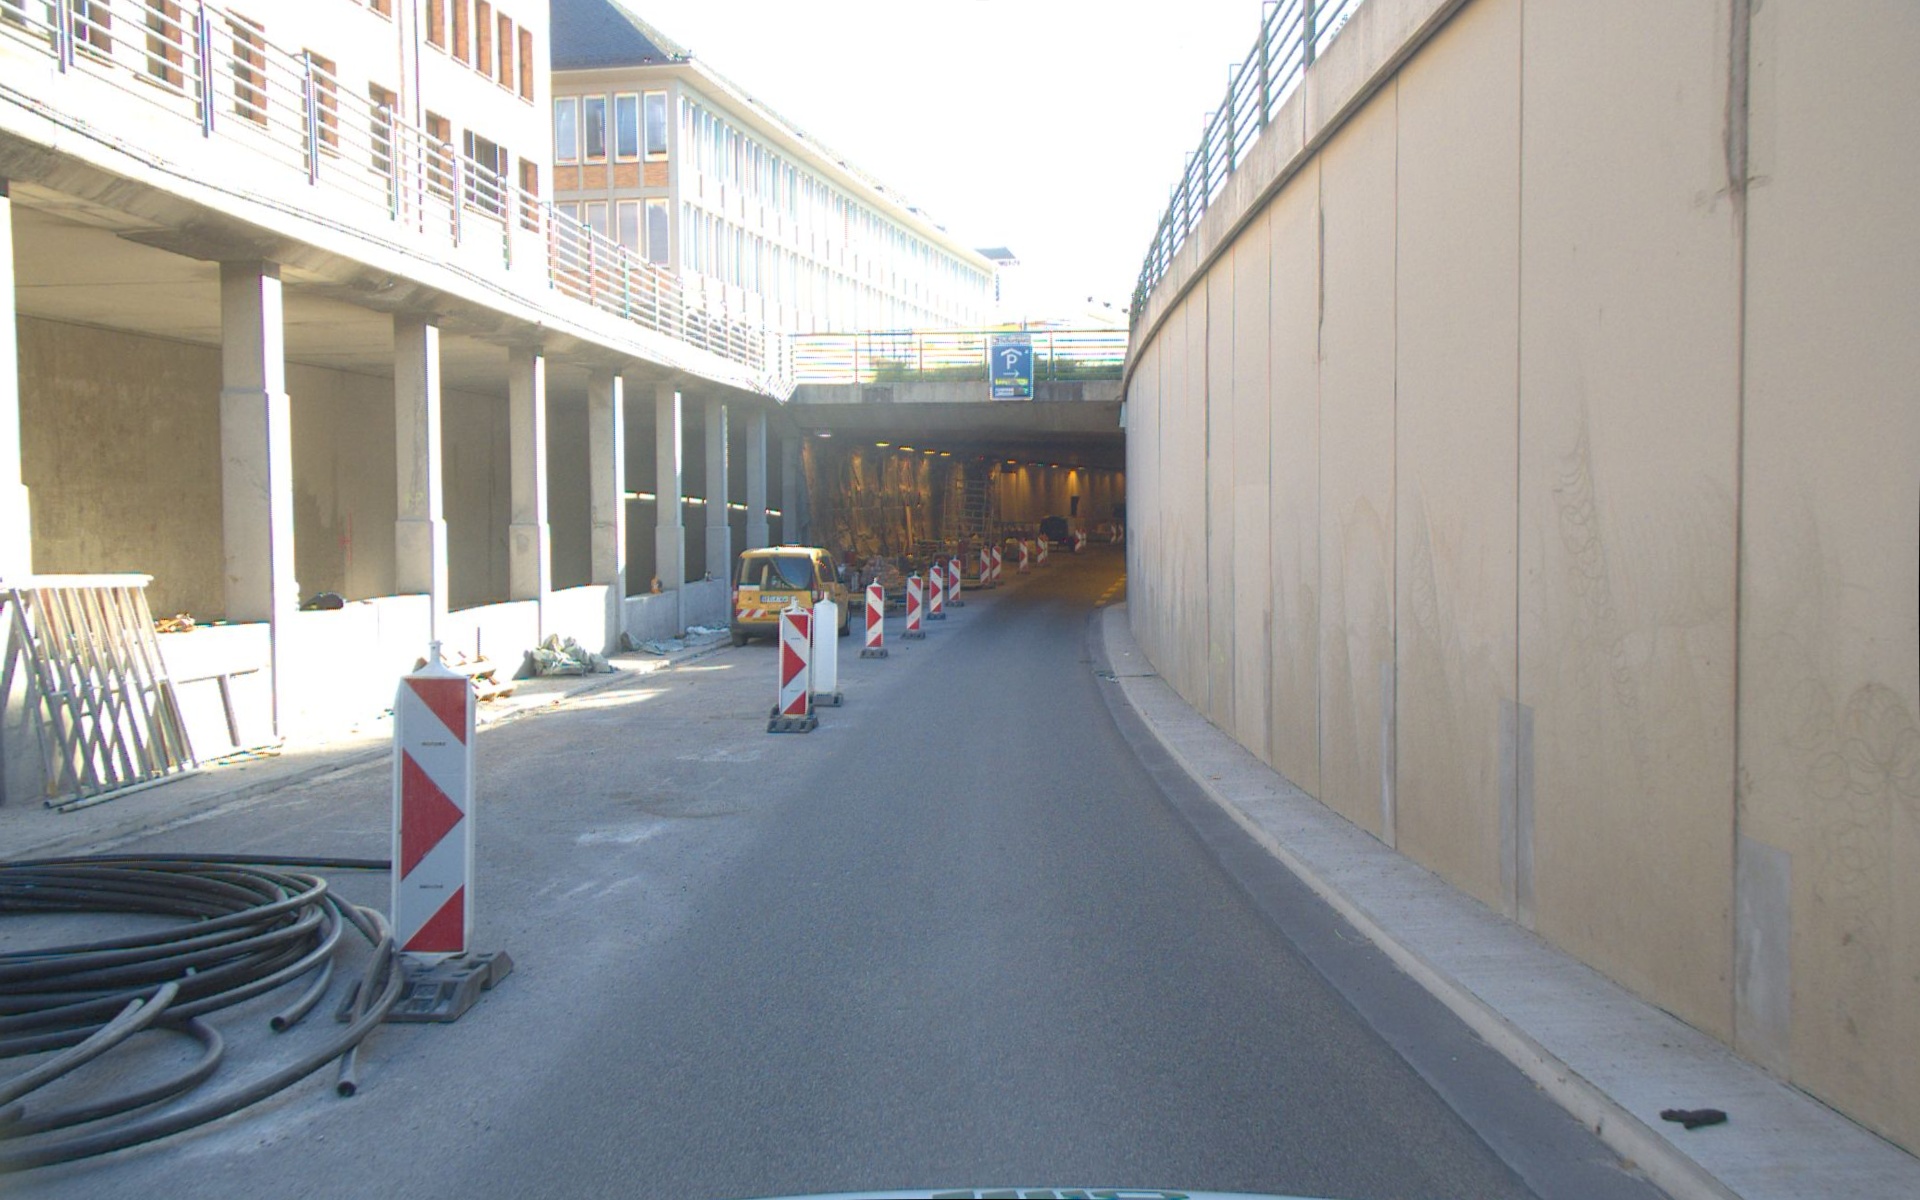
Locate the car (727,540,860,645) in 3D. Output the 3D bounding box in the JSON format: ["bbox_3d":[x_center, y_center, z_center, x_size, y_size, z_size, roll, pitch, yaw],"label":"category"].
[{"bbox_3d":[-3.112,-0.217,31.861,1.809,1.806,4.438,0,3,4],"label":"car"}]

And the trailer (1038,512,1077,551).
[{"bbox_3d":[4.858,-3.409,82.041,1.547,1.829,2.943,1,3,11],"label":"trailer"}]
